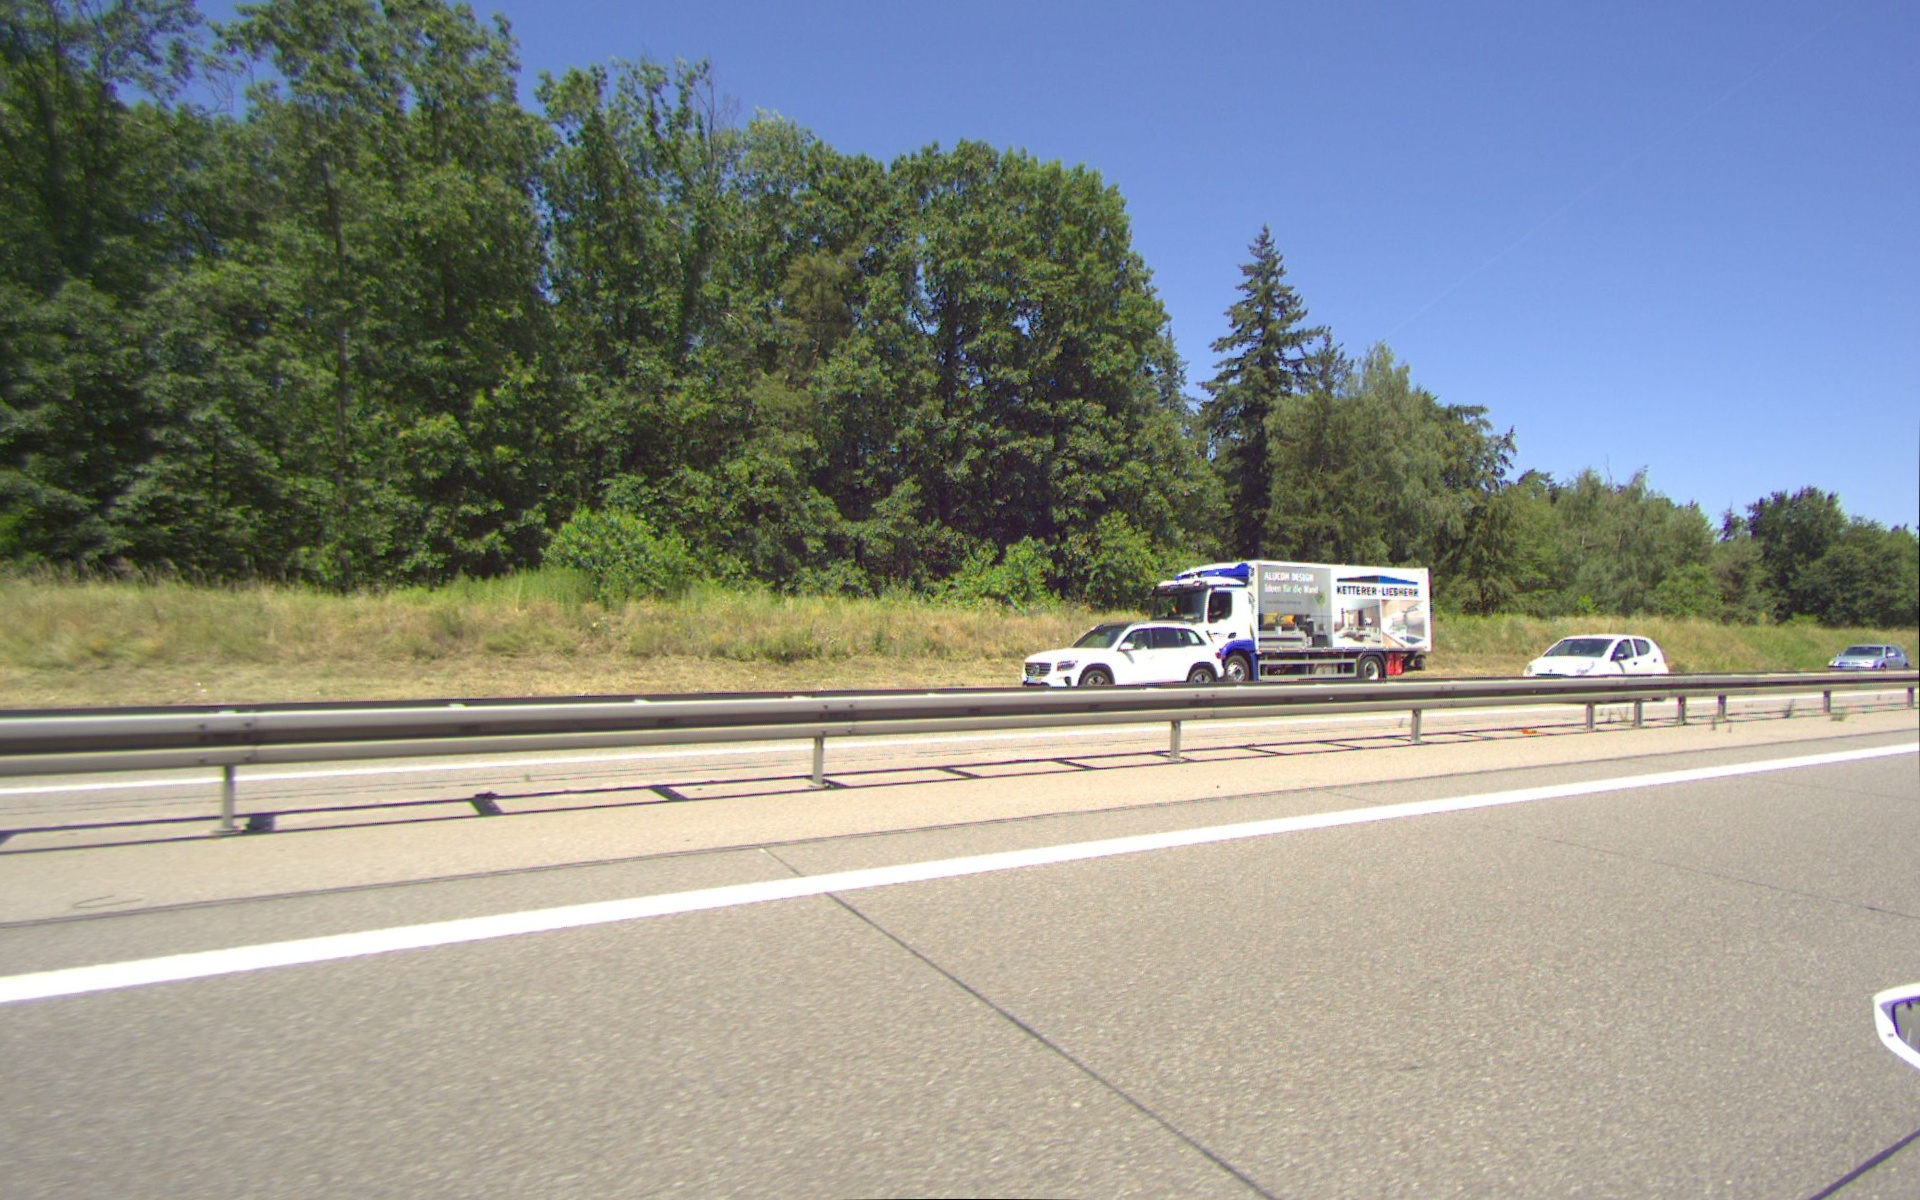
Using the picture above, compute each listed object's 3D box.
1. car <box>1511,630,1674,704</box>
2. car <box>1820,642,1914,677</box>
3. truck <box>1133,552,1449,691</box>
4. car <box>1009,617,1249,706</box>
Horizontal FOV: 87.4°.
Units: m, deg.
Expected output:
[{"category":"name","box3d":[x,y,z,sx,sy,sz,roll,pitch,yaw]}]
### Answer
[{"category":"car","box3d":[13.844,1.450,21.943,3.597,1.486,1.509,2,-4,-31]},{"category":"car","box3d":[38.182,2.500,42.259,4.303,1.426,1.753,2,-4,-31]},{"category":"truck","box3d":[9.977,0.759,29.617,10.321,3.564,2.719,2,-4,-31]},{"category":"car","box3d":[3.582,1.262,20.921,5.030,1.667,1.718,2,-4,-31]}]
